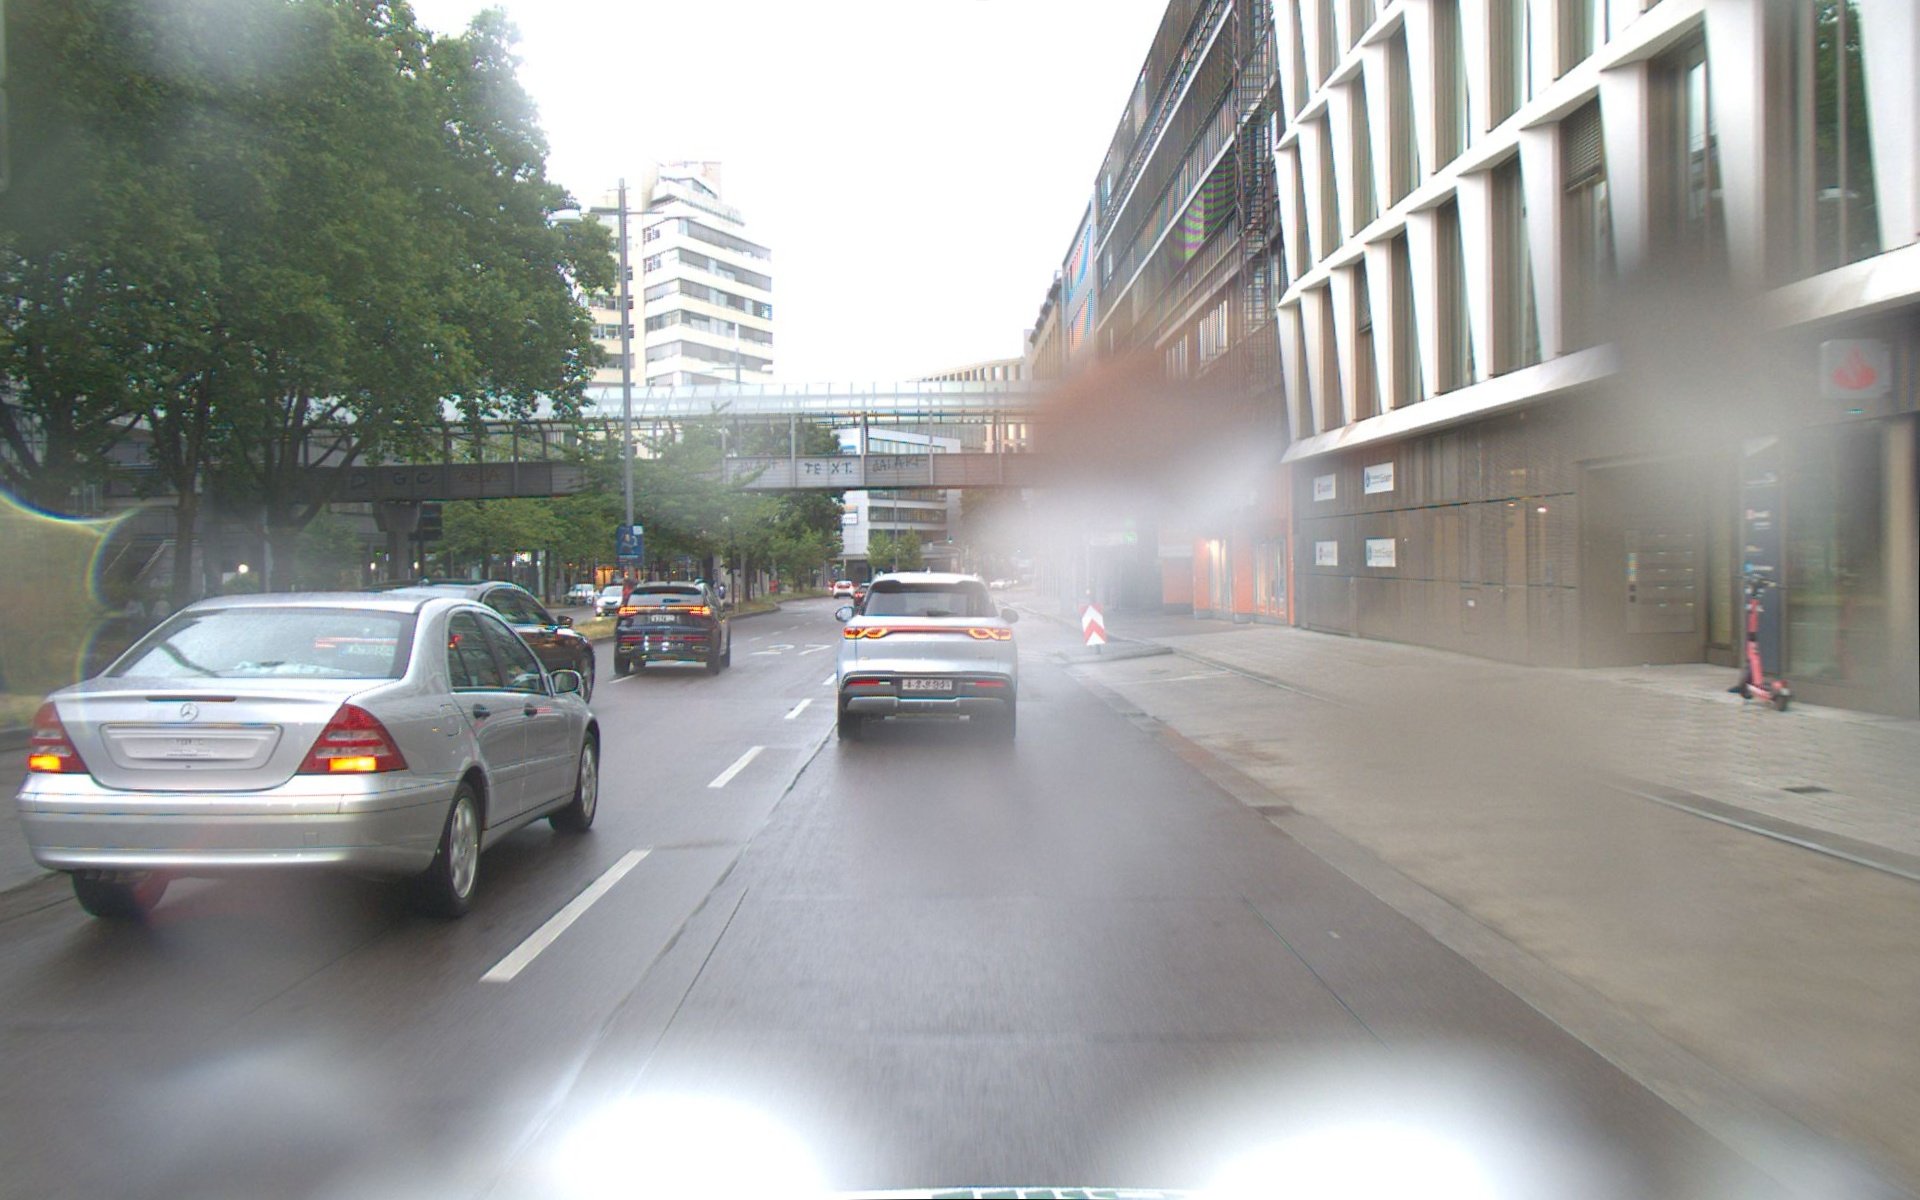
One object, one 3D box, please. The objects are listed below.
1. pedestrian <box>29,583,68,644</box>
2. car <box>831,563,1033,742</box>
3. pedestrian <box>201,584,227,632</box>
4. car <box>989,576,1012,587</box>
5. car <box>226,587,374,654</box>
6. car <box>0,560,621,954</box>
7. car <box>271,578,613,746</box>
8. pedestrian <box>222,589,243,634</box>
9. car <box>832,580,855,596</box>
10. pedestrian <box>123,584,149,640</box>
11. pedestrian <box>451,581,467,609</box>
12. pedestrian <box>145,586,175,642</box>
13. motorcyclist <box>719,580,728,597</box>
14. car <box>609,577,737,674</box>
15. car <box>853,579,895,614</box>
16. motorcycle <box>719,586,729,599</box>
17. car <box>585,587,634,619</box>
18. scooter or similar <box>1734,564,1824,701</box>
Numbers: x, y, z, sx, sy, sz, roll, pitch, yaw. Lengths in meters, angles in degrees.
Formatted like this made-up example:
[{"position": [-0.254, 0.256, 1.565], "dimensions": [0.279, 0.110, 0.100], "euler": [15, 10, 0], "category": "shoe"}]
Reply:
[{"position": [-28.003, 0.406, 50.840], "dimensions": [0.720, 1.839, 0.802], "euler": [-1, 1, -1], "category": "pedestrian"}, {"position": [-0.295, 0.483, 17.457], "dimensions": [1.862, 1.649, 3.999], "euler": [1, 0, -1], "category": "car"}, {"position": [-28.775, 0.315, 63.808], "dimensions": [0.708, 1.839, 0.617], "euler": [-1, 1, -1], "category": "pedestrian"}, {"position": [5.753, -2.610, 234.554], "dimensions": [1.551, 1.565, 3.993], "euler": [0, 1, 29], "category": "car"}, {"position": [-15.676, 0.467, 39.549], "dimensions": [1.656, 1.463, 4.758], "euler": [-1, 0, -1], "category": "car"}, {"position": [-2.981, 0.609, 8.514], "dimensions": [1.638, 1.505, 4.359], "euler": [0, 0, -1], "category": "car"}, {"position": [-5.310, 0.543, 17.730], "dimensions": [1.833, 1.505, 4.880], "euler": [-2, 1, 3], "category": "car"}, {"position": [-28.014, 0.454, 63.720], "dimensions": [0.548, 1.715, 0.511], "euler": [-1, 1, -1], "category": "pedestrian"}, {"position": [-10.153, -1.076, 144.247], "dimensions": [1.619, 1.365, 4.001], "euler": [0, 1, 1], "category": "car"}, {"position": [-27.395, 0.386, 55.001], "dimensions": [0.593, 1.839, 0.511], "euler": [-1, 1, -1], "category": "pedestrian"}, {"position": [-32.013, -0.321, 105.694], "dimensions": [0.728, 1.745, 1.056], "euler": [-1, 1, -2], "category": "pedestrian"}, {"position": [-26.564, 0.448, 54.936], "dimensions": [0.584, 1.839, 0.759], "euler": [-1, 1, -1], "category": "pedestrian"}, {"position": [-20.501, -0.958, 143.392], "dimensions": [0.625, 1.443, 0.970], "euler": [-1, 0, -1], "category": "motorcyclist"}, {"position": [-4.788, 0.399, 28.017], "dimensions": [1.739, 1.482, 3.996], "euler": [-1, 0, -5], "category": "car"}, {"position": [-4.068, -0.170, 78.556], "dimensions": [1.774, 1.606, 4.000], "euler": [0, 1, 0], "category": "car"}, {"position": [-20.493, -0.654, 143.497], "dimensions": [0.572, 1.039, 1.805], "euler": [-1, 1, -1], "category": "motorcycle"}, {"position": [-17.663, 0.122, 83.519], "dimensions": [1.628, 1.489, 4.080], "euler": [-3, 0, -2], "category": "car"}, {"position": [7.809, 0.294, 15.805], "dimensions": [0.403, 1.258, 1.190], "euler": [-1, 1, 8], "category": "scooter or similar"}]
